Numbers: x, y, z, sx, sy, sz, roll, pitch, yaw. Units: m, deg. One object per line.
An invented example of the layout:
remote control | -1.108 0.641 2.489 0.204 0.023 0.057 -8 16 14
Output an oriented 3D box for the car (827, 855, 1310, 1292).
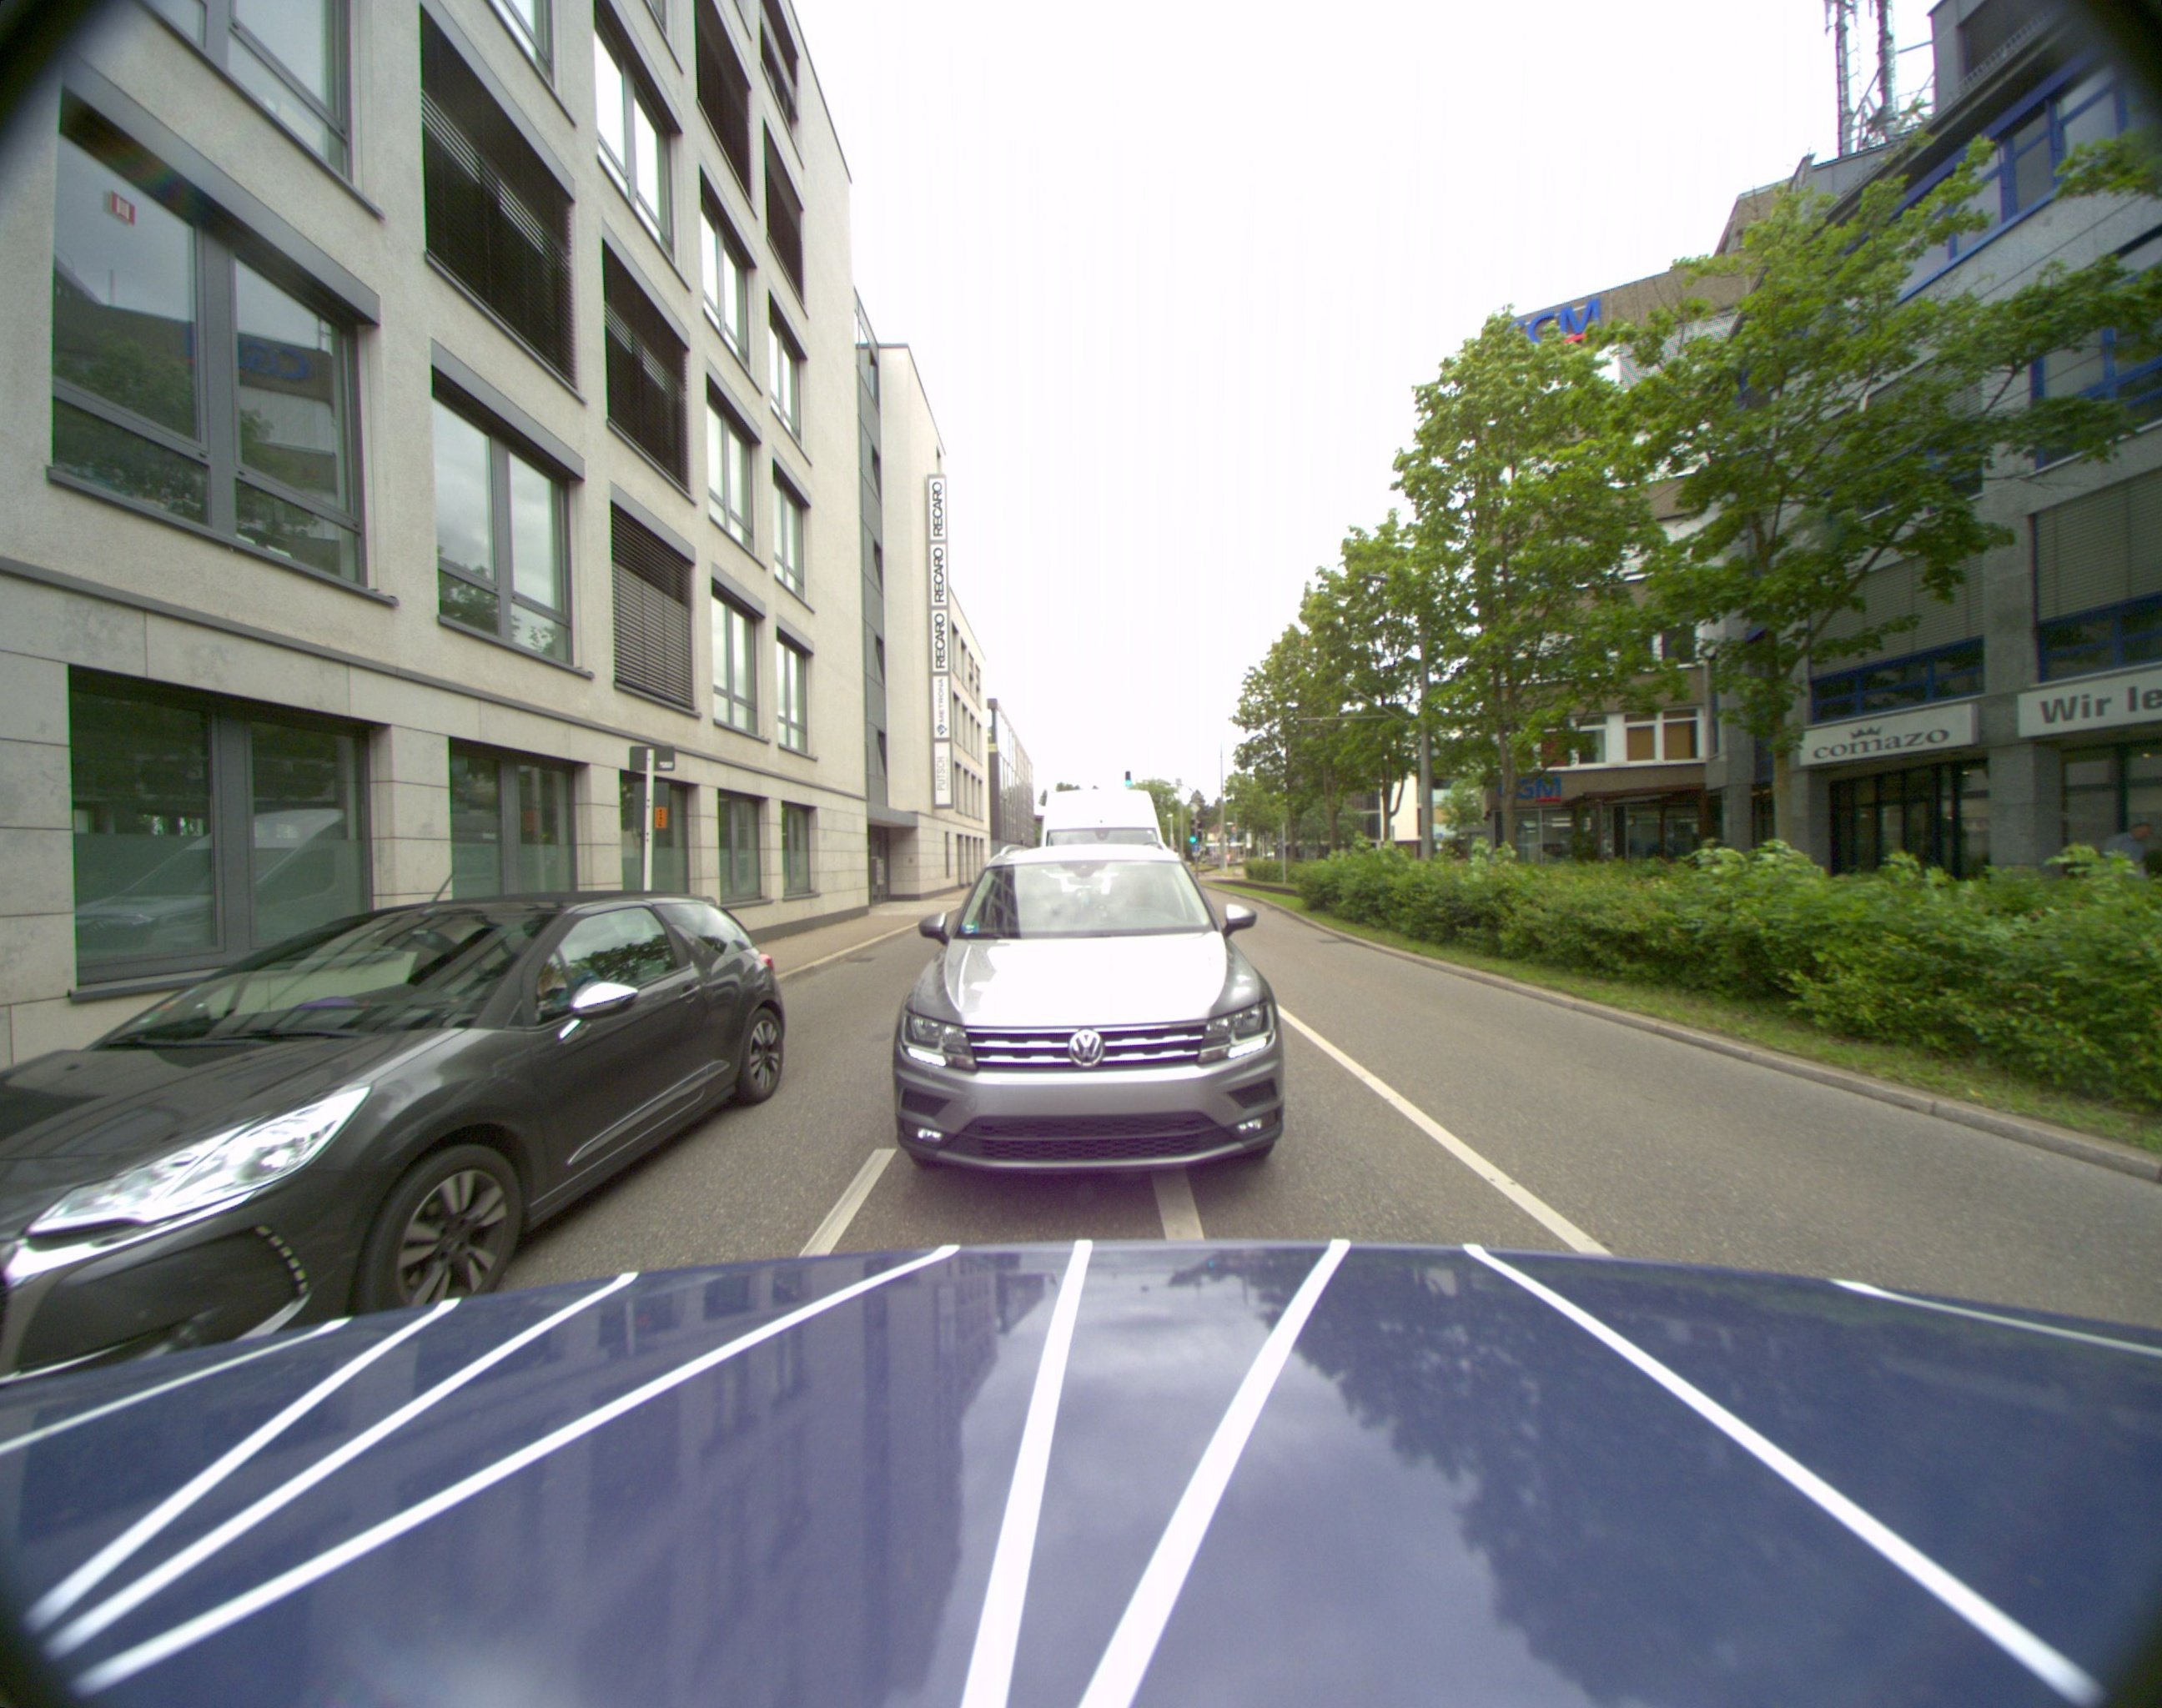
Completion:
car | -0.021 0.882 5.177 1.833 1.636 4.326 -3 0 1

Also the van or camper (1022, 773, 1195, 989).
van or camper | 0.286 0.350 12.956 2.110 2.674 6.298 -3 0 -1

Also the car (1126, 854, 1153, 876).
car | 4.444 0.812 58.654 1.754 1.579 4.135 -3 0 1

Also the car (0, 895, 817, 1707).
car | -2.930 1.075 3.610 1.705 1.452 4.063 -3 0 3

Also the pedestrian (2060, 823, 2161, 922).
pedestrian | 16.233 0.281 11.971 0.699 1.474 0.679 -3 0 1
